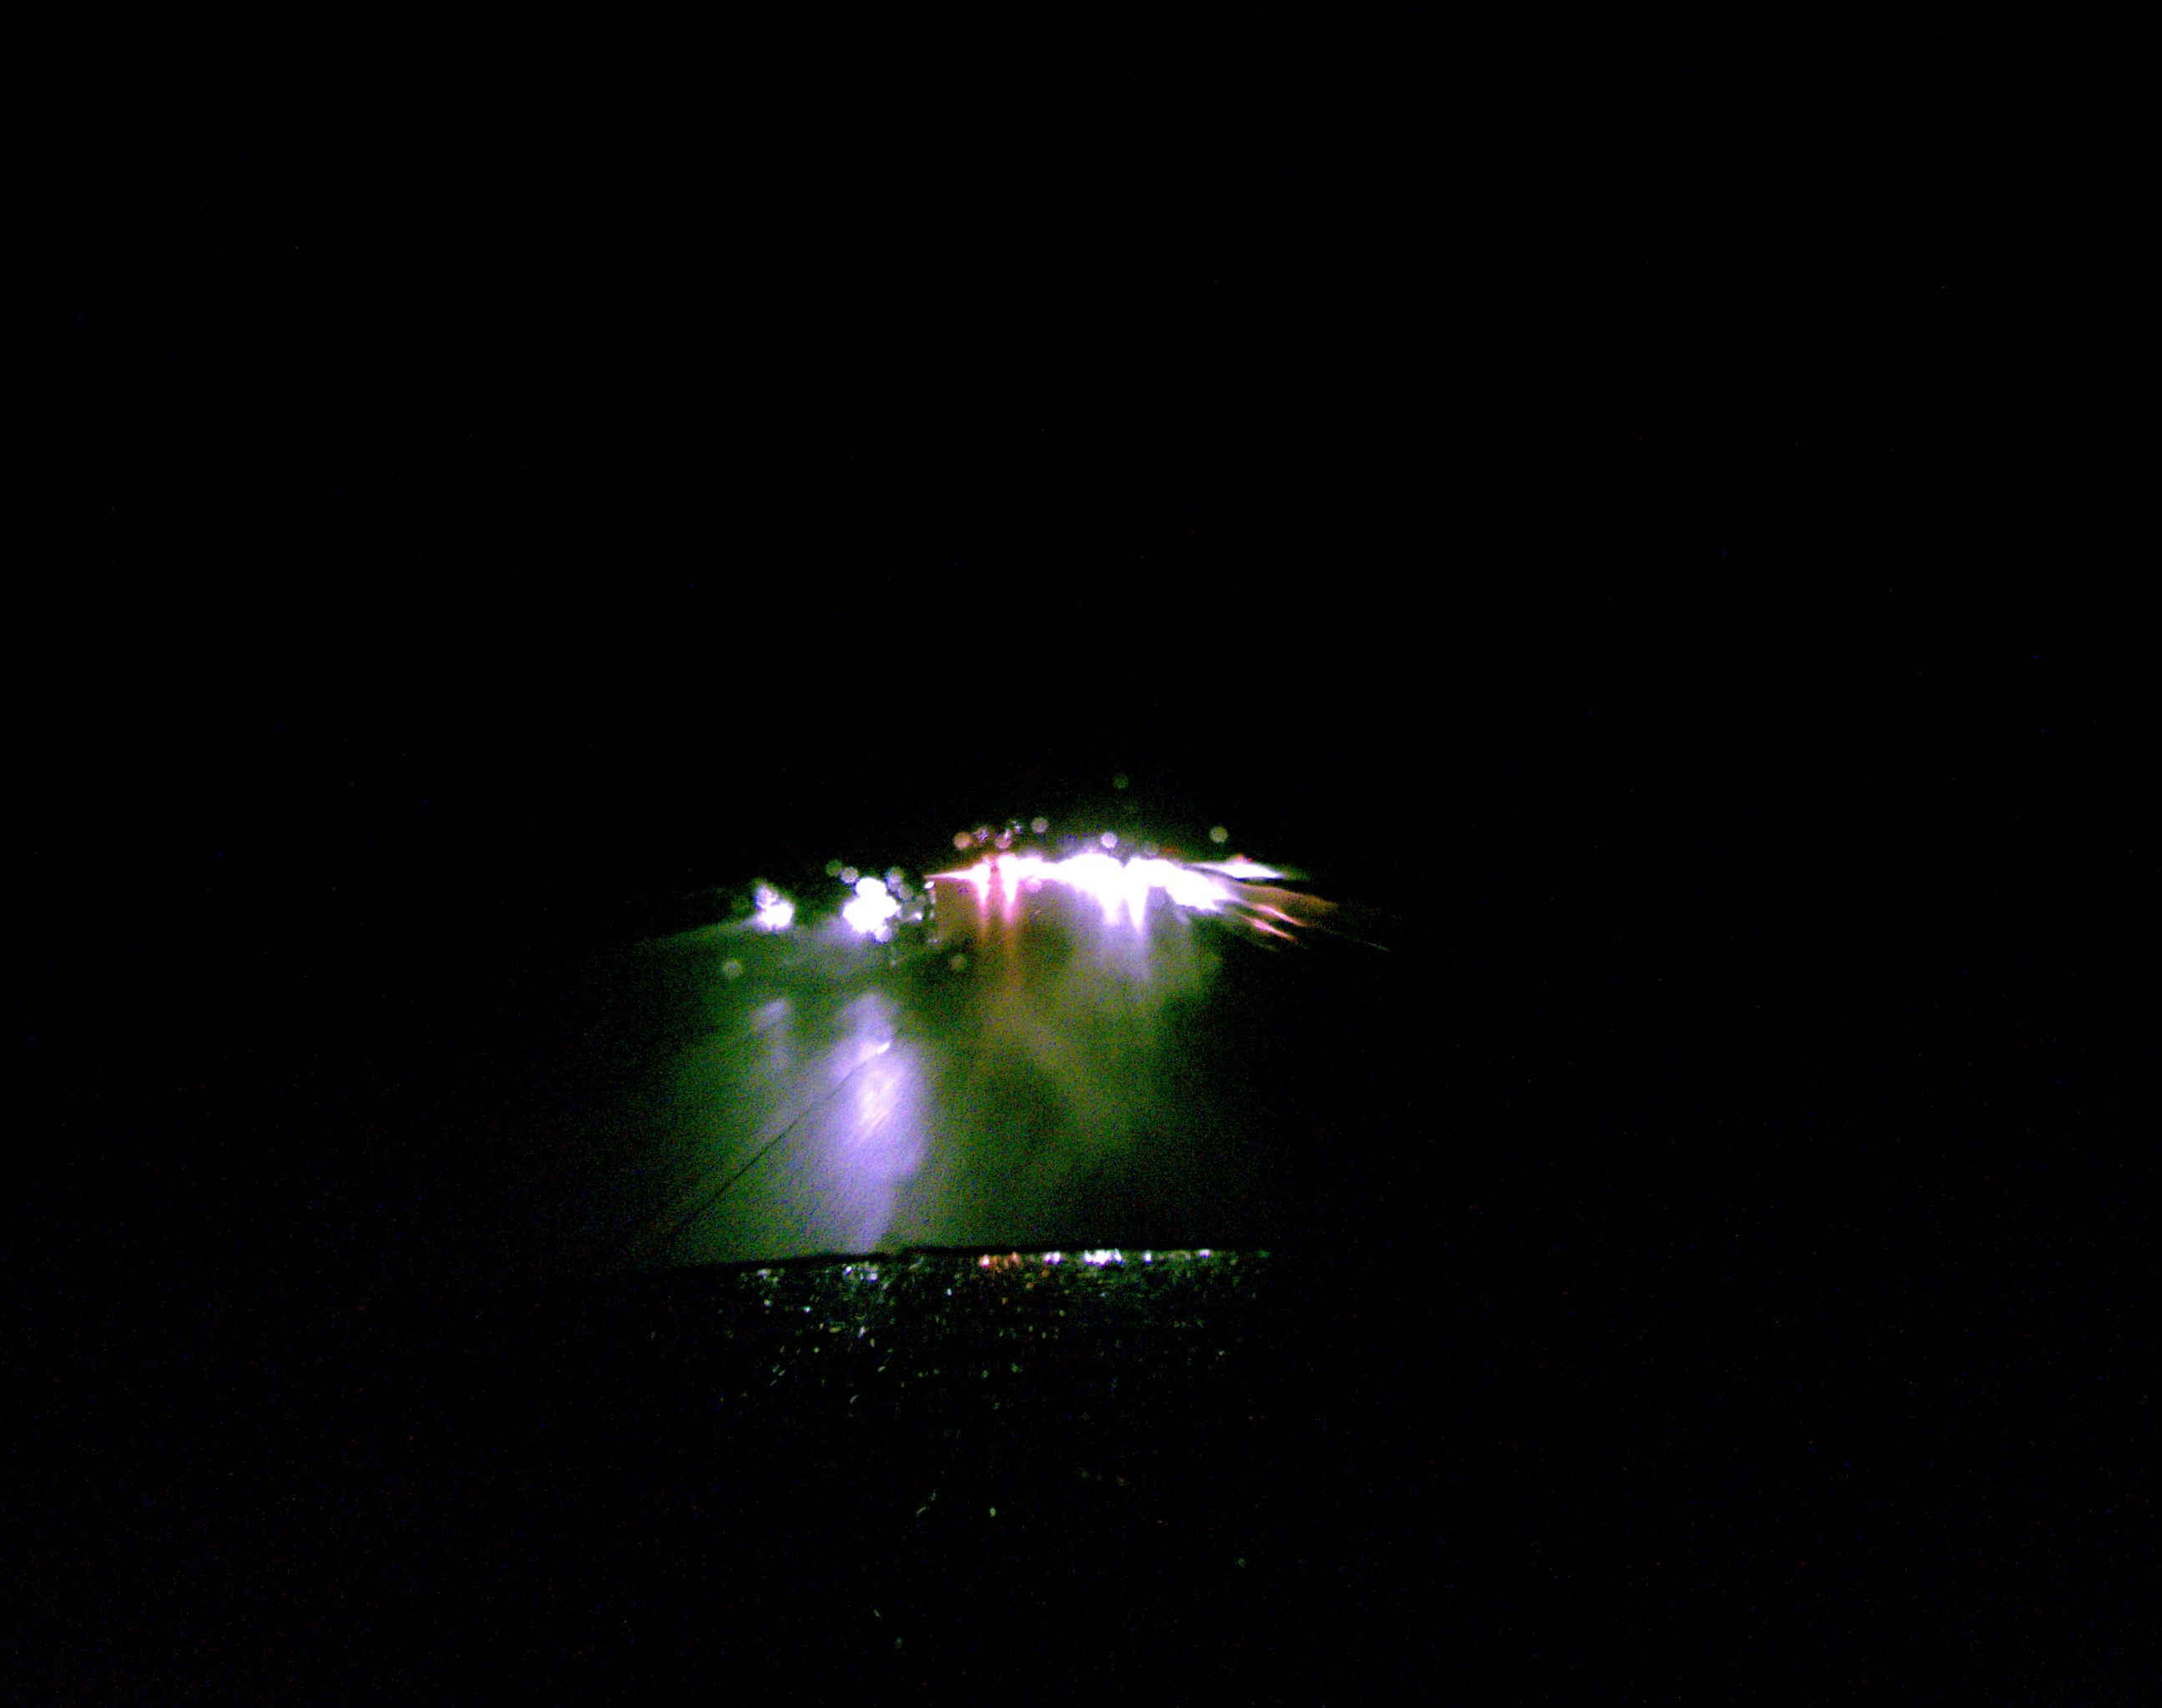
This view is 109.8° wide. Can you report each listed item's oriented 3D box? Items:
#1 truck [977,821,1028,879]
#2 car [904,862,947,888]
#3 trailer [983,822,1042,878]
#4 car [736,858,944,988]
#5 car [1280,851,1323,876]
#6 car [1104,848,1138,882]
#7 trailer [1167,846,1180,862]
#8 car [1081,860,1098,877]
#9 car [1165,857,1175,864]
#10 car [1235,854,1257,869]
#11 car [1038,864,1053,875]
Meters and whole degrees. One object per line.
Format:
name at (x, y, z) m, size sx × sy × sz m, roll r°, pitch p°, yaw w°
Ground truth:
truck at (-5.747, -0.278, 56.489) m, size 2.782 × 3.946 × 5.199 m, roll -5°, pitch 0°, yaw 3°
car at (-11.163, 1.476, 54.903) m, size 1.918 × 1.580 × 4.117 m, roll -5°, pitch 0°, yaw 3°
trailer at (-5.423, -0.281, 63.444) m, size 2.746 × 3.955 × 13.821 m, roll -5°, pitch 0°, yaw 3°
car at (-3.522, 0.934, 11.896) m, size 1.847 × 1.614 × 3.679 m, roll -4°, pitch -1°, yaw 3°
car at (14.447, 0.605, 50.044) m, size 1.808 × 1.398 × 4.289 m, roll -5°, pitch 0°, yaw 4°
car at (2.640, 0.695, 49.036) m, size 1.998 × 2.001 × 4.002 m, roll -3°, pitch -1°, yaw 5°
trailer at (27.836, -0.075, 229.507) m, size 2.628 × 4.518 × 13.724 m, roll -5°, pitch 0°, yaw 3°
car at (1.127, 1.914, 102.784) m, size 1.998 × 2.002 × 4.001 m, roll -5°, pitch 0°, yaw 3°
car at (22.290, 1.609, 190.389) m, size 1.998 × 1.516 × 4.671 m, roll -5°, pitch 0°, yaw 4°
car at (21.412, 0.971, 98.559) m, size 1.998 × 1.709 × 4.289 m, roll -5°, pitch 0°, yaw 3°
car at (-5.940, 2.612, 128.524) m, size 1.998 × 1.615 × 4.626 m, roll -5°, pitch 0°, yaw 3°
